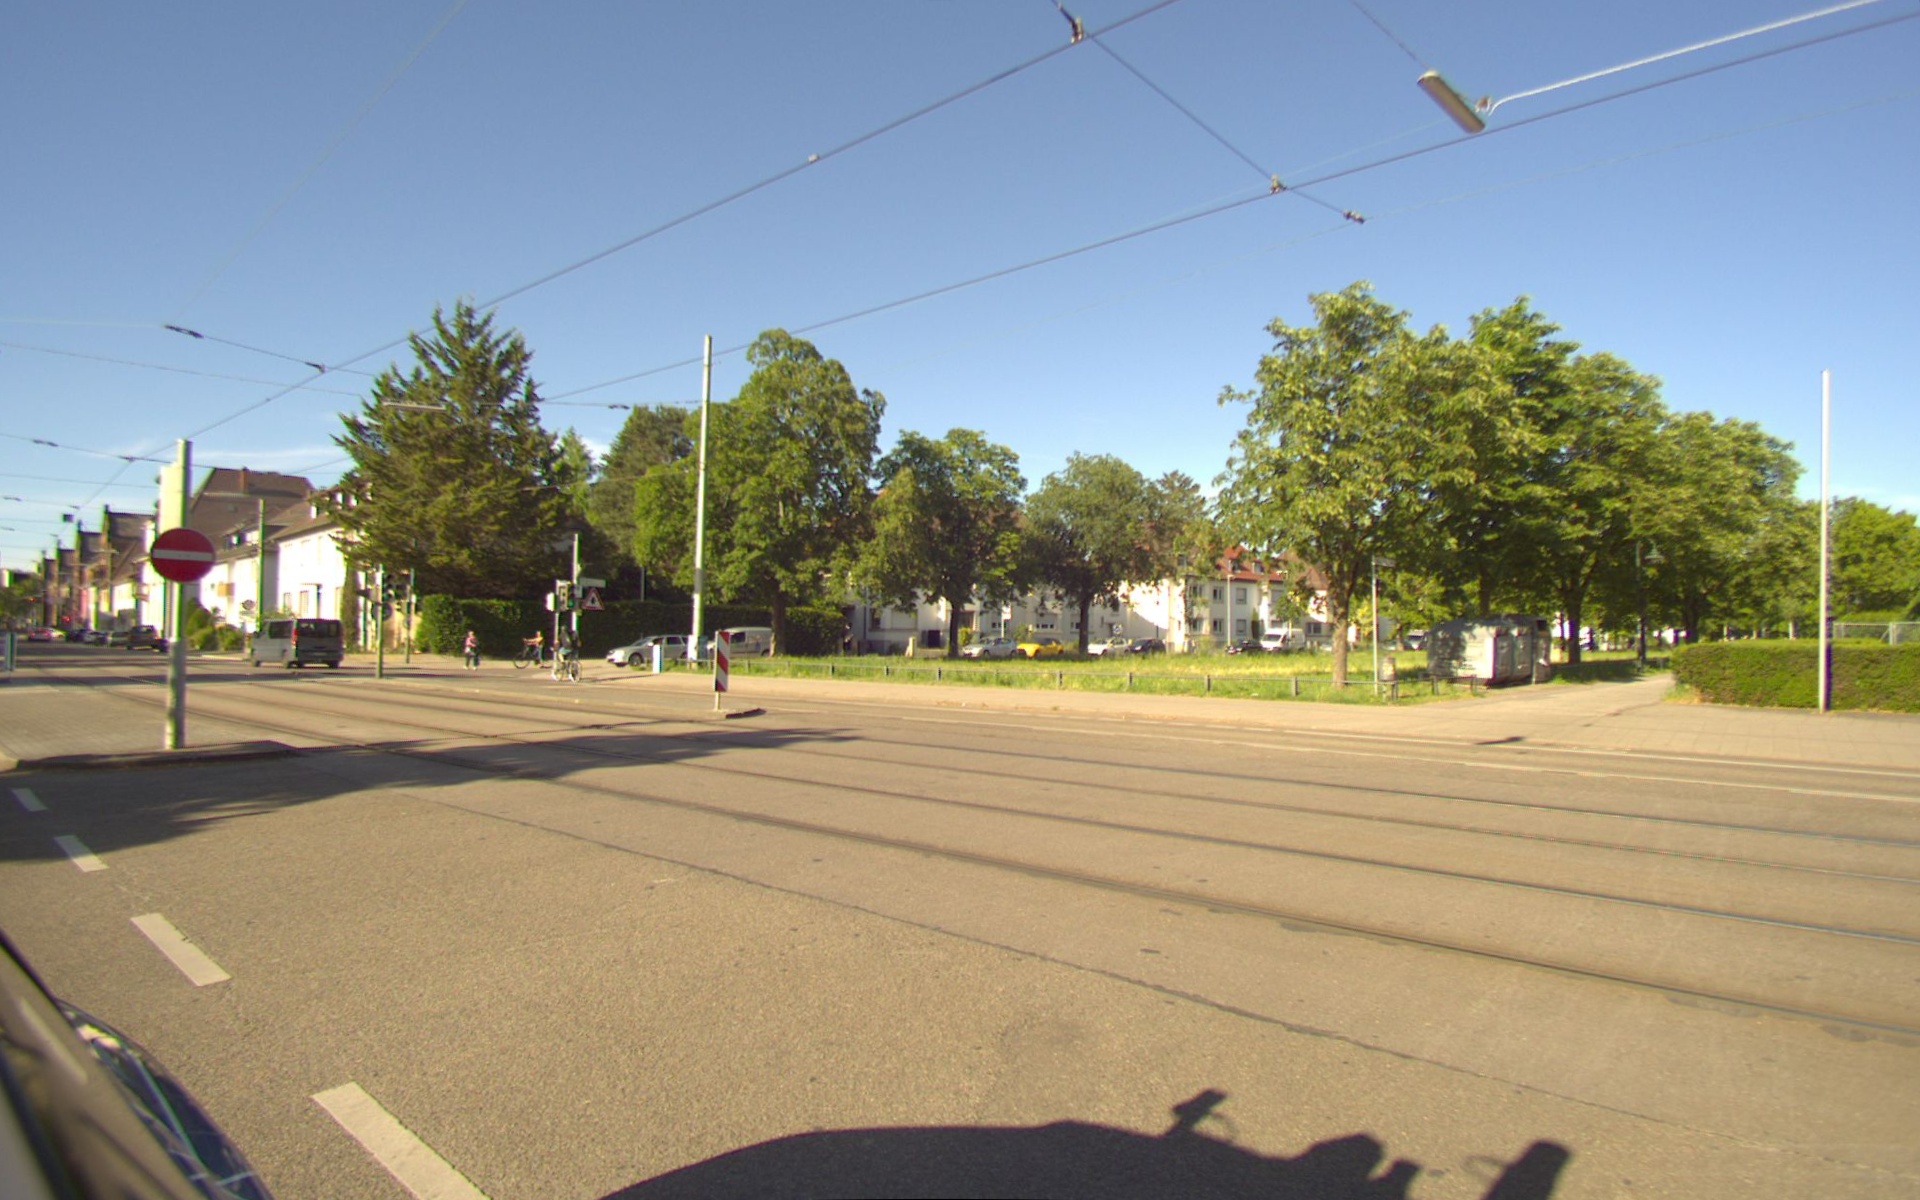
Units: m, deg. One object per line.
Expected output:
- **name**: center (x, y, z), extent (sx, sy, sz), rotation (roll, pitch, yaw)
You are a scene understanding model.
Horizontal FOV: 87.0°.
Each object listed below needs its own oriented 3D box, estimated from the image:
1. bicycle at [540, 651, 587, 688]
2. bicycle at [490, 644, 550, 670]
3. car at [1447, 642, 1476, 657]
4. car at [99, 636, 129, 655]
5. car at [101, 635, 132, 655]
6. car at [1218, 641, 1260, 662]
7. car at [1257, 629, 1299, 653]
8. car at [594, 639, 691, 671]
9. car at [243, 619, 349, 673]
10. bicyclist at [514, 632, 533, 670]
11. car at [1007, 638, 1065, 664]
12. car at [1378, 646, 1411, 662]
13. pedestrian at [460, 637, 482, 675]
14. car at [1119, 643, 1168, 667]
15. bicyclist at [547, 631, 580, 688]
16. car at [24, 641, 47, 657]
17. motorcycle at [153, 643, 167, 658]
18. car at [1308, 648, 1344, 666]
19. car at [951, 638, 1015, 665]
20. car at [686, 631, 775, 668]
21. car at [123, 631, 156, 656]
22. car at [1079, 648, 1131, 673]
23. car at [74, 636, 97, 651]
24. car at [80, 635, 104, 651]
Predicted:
- **bicycle**: center (-12.376, 2.164, 31.553), extent (1.826, 1.122, 0.580), rotation (-3, -5, 42)
- **bicycle**: center (-19.240, 2.483, 44.251), extent (2.250, 1.126, 0.932), rotation (2, -3, -37)
- **car**: center (59.498, 5.869, 120.005), extent (3.828, 1.756, 1.818), rotation (3, -4, -43)
- **car**: center (-81.241, 4.327, 97.153), extent (1.897, 1.728, 4.002), rotation (0, -2, -45)
- **car**: center (-77.221, 4.129, 92.593), extent (1.897, 1.728, 4.003), rotation (0, -2, -44)
- **car**: center (24.031, 4.408, 87.122), extent (3.828, 1.756, 1.818), rotation (3, -4, -43)
- **car**: center (28.614, 3.679, 91.123), extent (4.120, 2.110, 1.818), rotation (3, -4, -43)
- **car**: center (-14.835, 2.541, 47.352), extent (3.936, 1.444, 1.819), rotation (2, -3, -40)
- **car**: center (-26.667, 1.891, 40.580), extent (5.245, 2.029, 1.999), rotation (-3, -6, 39)
- **bicyclist**: center (-19.125, 2.237, 44.349), extent (0.550, 1.635, 0.900), rotation (2, -3, -37)
- **car**: center (5.244, 3.495, 69.572), extent (3.828, 1.756, 1.818), rotation (2, -3, -43)
- **car**: center (46.339, 5.735, 107.924), extent (3.828, 1.756, 1.818), rotation (3, -4, -43)
- **pedestrian**: center (-20.604, 2.339, 42.630), extent (0.615, 1.568, 0.679), rotation (-1, -1, -4)
- **car**: center (14.124, 4.215, 77.943), extent (3.828, 1.756, 1.818), rotation (3, -4, -43)
- **bicyclist**: center (-12.379, 1.855, 31.579), extent (0.901, 1.724, 0.580), rotation (-3, -5, 42)
- **car**: center (-105.077, 5.533, 115.036), extent (1.895, 1.728, 4.005), rotation (0, -2, -41)
- **motorcycle**: center (-56.280, 3.540, 71.201), extent (0.597, 1.054, 2.439), rotation (0, -2, -43)
- **car**: center (35.840, 5.583, 99.033), extent (3.828, 1.756, 1.818), rotation (3, -4, -43)
- **car**: center (1.553, 3.365, 66.375), extent (4.137, 1.756, 1.818), rotation (3, -4, -43)
- **car**: center (-12.127, 2.620, 53.648), extent (4.250, 1.881, 1.818), rotation (2, -3, -43)
- **car**: center (-66.640, 3.557, 82.184), extent (1.896, 1.915, 4.004), rotation (0, -2, -42)
- **car**: center (10.731, 4.429, 74.775), extent (3.828, 1.756, 1.818), rotation (3, -4, -43)
- **car**: center (-102.324, 5.079, 118.403), extent (1.897, 1.728, 4.003), rotation (-1, -2, -44)
- **car**: center (-92.206, 4.588, 107.461), extent (1.895, 1.577, 4.005), rotation (0, -2, -41)
